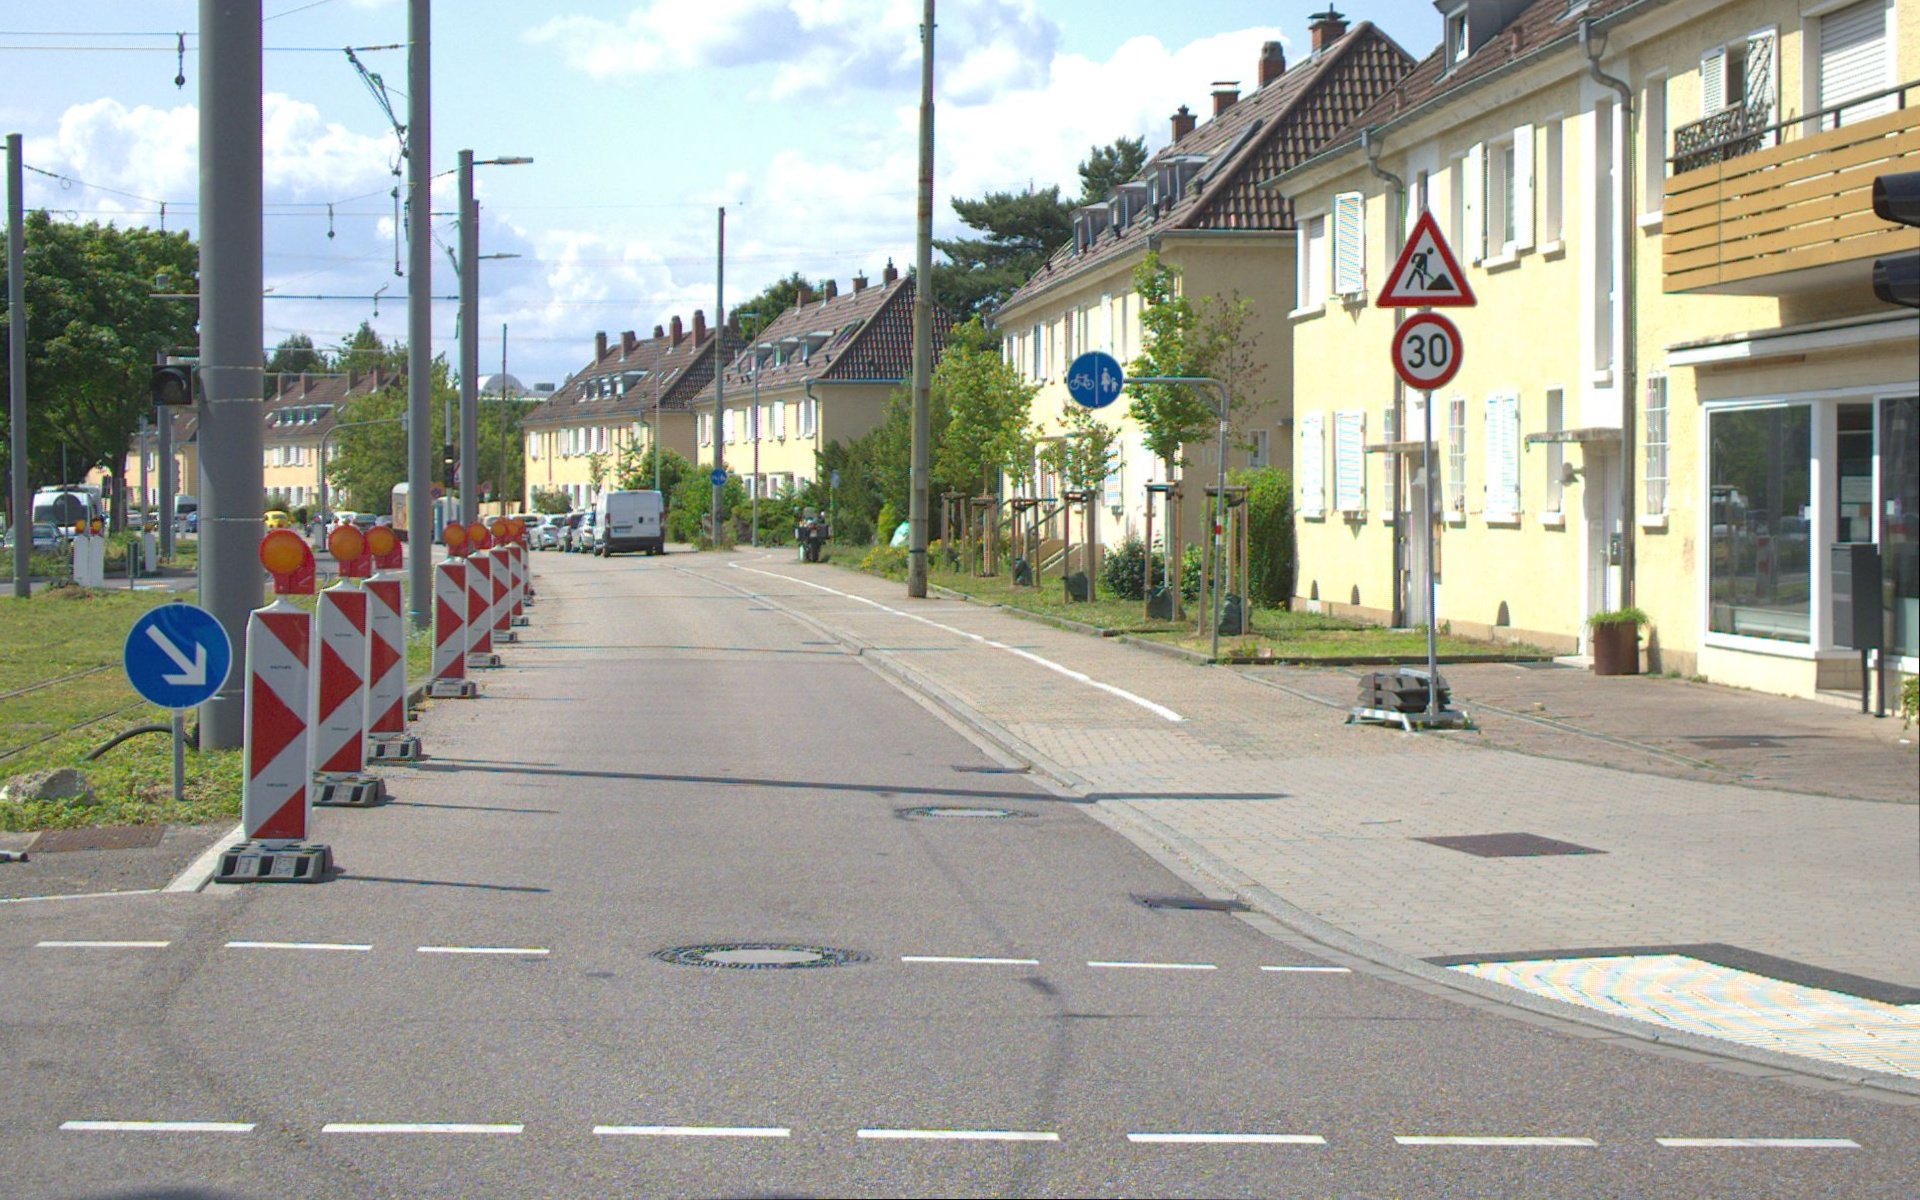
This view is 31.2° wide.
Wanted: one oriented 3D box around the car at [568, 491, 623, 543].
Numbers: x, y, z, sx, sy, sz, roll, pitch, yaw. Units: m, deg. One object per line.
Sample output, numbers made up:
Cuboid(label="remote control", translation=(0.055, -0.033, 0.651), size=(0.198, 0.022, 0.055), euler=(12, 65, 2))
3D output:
Cuboid(label="car", translation=(-13.553, -3.065, 127.741), size=(1.567, 1.891, 3.790), euler=(0, 1, -13))

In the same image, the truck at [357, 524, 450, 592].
Cuboid(label="truck", translation=(-29.007, -2.222, 178.868), size=(2.640, 3.482, 9.440), euler=(0, 1, -23))

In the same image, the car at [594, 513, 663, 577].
Cuboid(label="car", translation=(-11.431, -1.904, 118.252), size=(2.065, 2.141, 4.880), euler=(0, 1, -9))

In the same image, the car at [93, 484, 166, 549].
Cuboid(label="car", translation=(-31.180, -3.147, 129.014), size=(2.406, 2.362, 4.881), euler=(0, 2, -16))

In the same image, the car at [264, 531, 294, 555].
Cuboid(label="car", translation=(-41.852, -3.512, 211.357), size=(1.257, 1.421, 2.666), euler=(0, 1, -24))

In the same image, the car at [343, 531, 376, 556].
Cuboid(label="car", translation=(-33.294, -3.139, 190.655), size=(1.257, 1.421, 2.666), euler=(0, 1, -23))

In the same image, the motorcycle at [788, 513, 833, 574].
Cuboid(label="motorcycle", translation=(-4.046, -1.539, 92.912), size=(1.066, 1.630, 2.084), euler=(0, 1, -7))

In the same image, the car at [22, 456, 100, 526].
Cuboid(label="car", translation=(-30.572, -3.670, 116.822), size=(2.406, 2.330, 4.881), euler=(0, 1, -16))

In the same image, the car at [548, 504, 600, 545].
Cuboid(label="car", translation=(-14.924, -2.936, 132.940), size=(1.567, 1.546, 3.791), euler=(0, 2, -13))

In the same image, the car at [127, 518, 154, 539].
Cuboid(label="car", translation=(-58.098, -5.071, 243.672), size=(1.257, 1.421, 2.666), euler=(-1, 2, -28))

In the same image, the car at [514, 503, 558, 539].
Cuboid(label="car", translation=(-18.524, -3.437, 150.023), size=(1.567, 1.546, 3.480), euler=(0, 2, -13))

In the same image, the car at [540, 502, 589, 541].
Cuboid(label="car", translation=(-15.937, -3.182, 138.440), size=(1.567, 1.546, 3.791), euler=(0, 2, -13))
